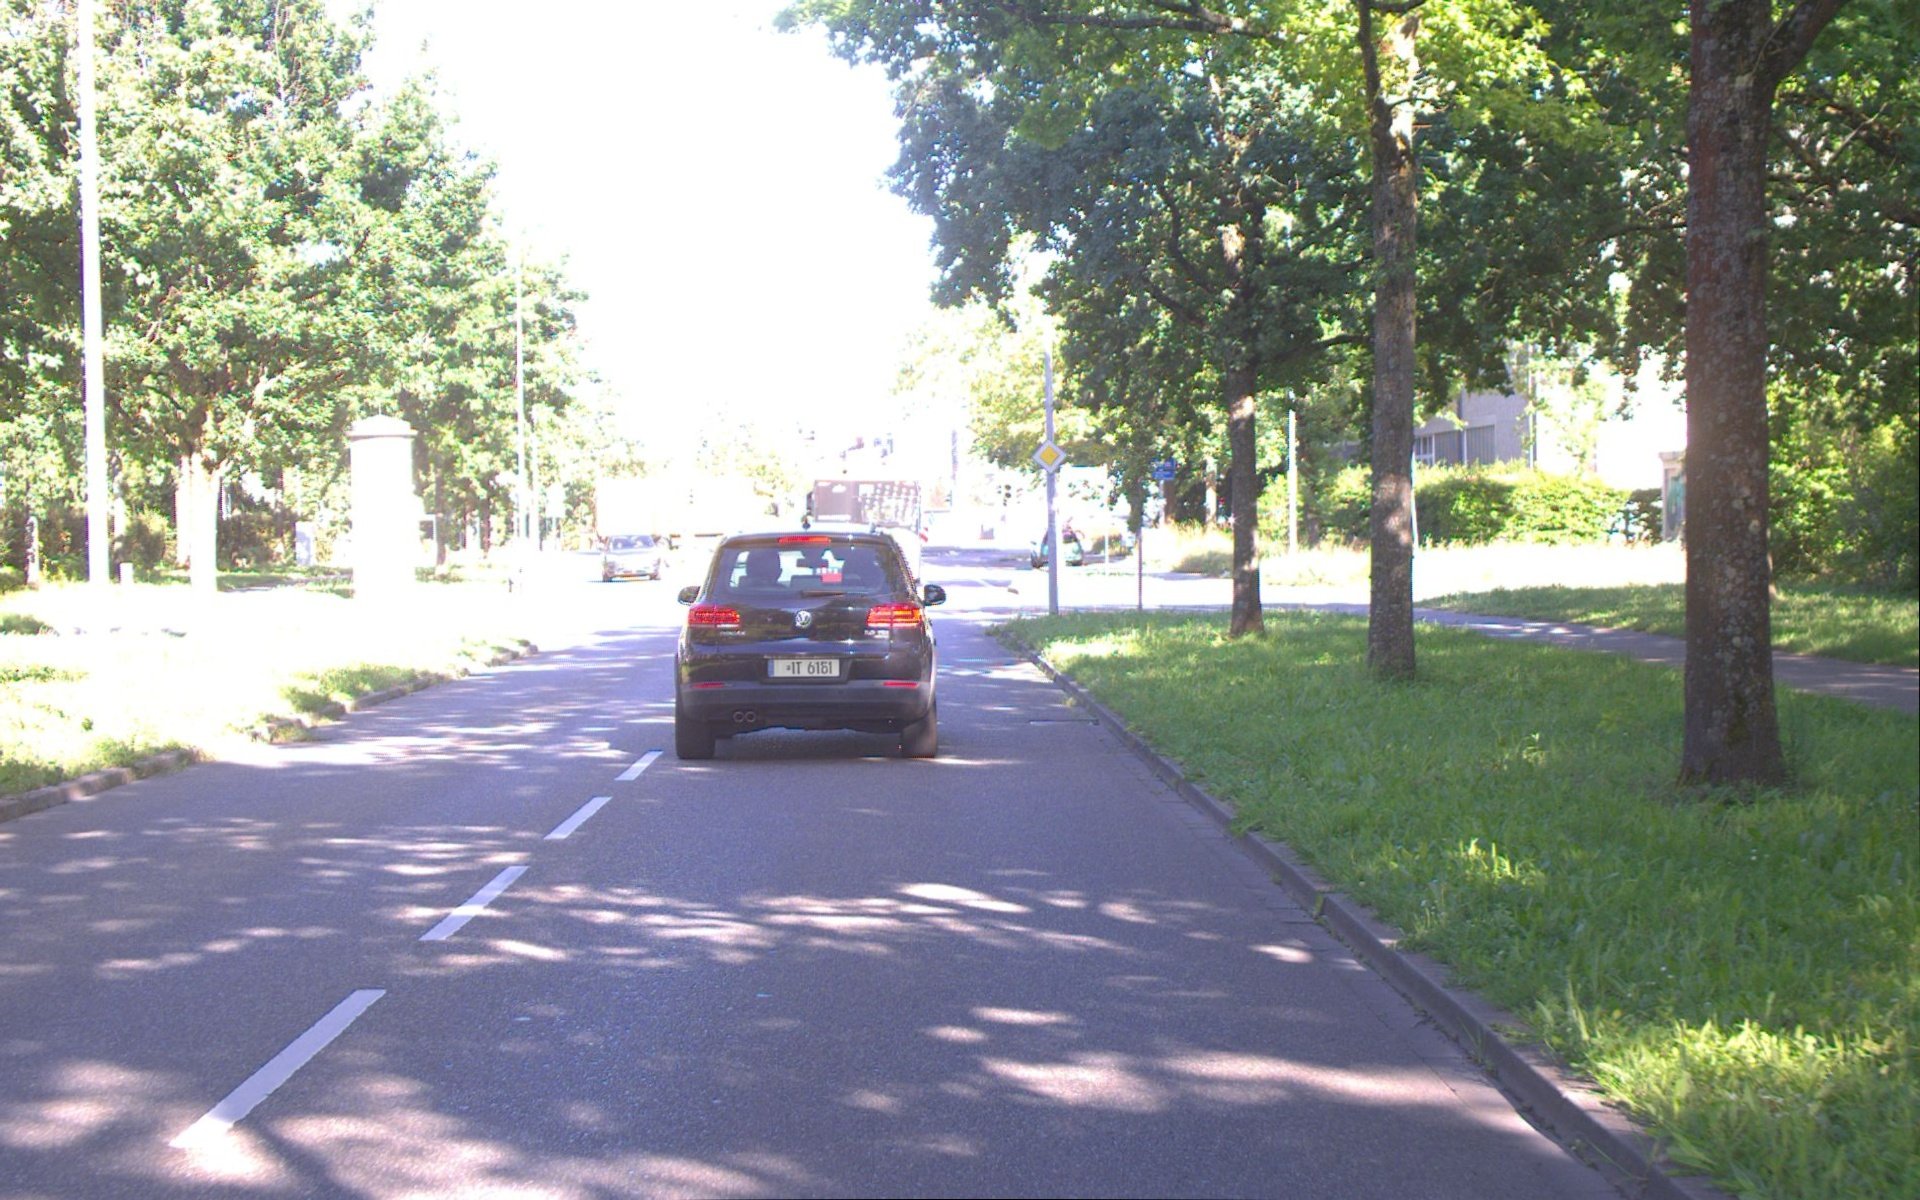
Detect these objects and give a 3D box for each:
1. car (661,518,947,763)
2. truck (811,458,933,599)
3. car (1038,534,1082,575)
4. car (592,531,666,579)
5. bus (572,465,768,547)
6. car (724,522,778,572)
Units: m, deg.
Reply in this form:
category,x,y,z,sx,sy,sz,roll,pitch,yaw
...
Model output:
category,x,y,z,sx,sy,sz,roll,pitch,yaw
car,-1.064,0.229,25.273,1.782,1.628,4.000,1,1,2
truck,-2.080,-1.751,83.796,2.512,3.232,8.152,-1,1,2
car,3.543,-1.616,121.968,1.452,1.401,2.856,1,1,0
car,-10.365,-1.432,107.800,1.993,1.450,4.000,-1,1,-1
bus,-13.964,-4.500,165.100,9.101,3.765,3.388,1,1,-9
car,-8.575,-2.179,140.664,1.993,2.007,4.001,1,1,-6
